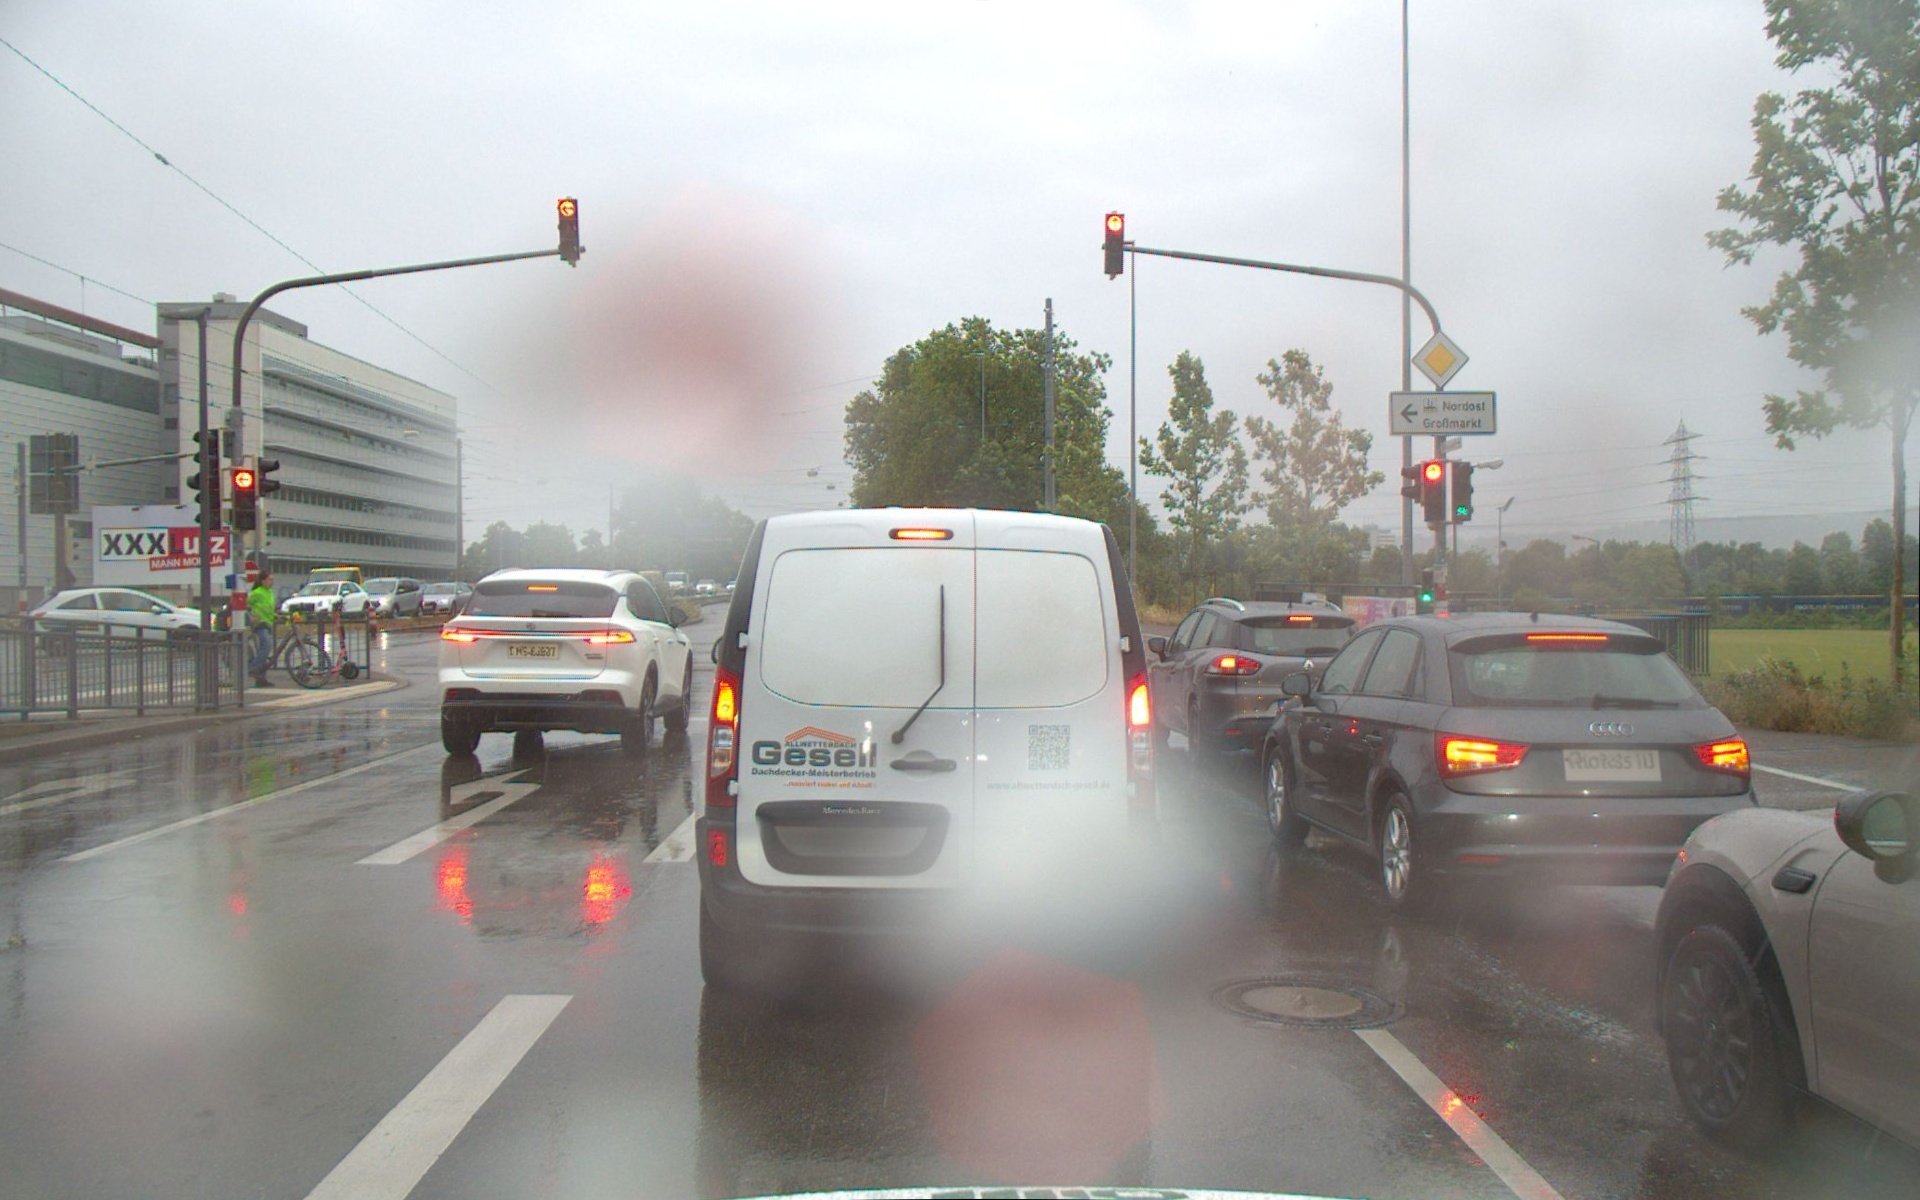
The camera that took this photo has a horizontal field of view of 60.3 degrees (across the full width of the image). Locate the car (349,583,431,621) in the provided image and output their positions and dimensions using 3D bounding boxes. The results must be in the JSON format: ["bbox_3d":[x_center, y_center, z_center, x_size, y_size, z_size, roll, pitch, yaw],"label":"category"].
[{"bbox_3d":[-21.577,0.098,62.768,1.554,1.359,3.832,1,-1,4],"label":"car"}]

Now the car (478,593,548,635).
[{"bbox_3d":[-20.807,0.633,77.124,1.889,1.859,4.002,1,0,4],"label":"car"}]

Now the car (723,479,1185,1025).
[{"bbox_3d":[-0.045,0.512,7.538,1.534,1.819,3.999,0,0,-1],"label":"car"}]

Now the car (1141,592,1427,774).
[{"bbox_3d":[2.887,0.682,15.581,1.822,1.453,3.806,1,1,-2],"label":"car"}]

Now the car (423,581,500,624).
[{"bbox_3d":[-21.065,0.097,70.027,1.853,1.729,4.001,1,0,3],"label":"car"}]

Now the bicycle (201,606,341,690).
[{"bbox_3d":[-9.689,0.671,23.299,1.716,1.052,0.414,4,-1,-3],"label":"bicycle"}]

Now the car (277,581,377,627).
[{"bbox_3d":[-21.674,0.140,56.789,1.662,1.518,3.878,1,0,5],"label":"car"}]

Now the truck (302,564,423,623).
[{"bbox_3d":[-25.155,-0.251,70.007,2.303,2.319,7.632,1,0,0],"label":"truck"}]

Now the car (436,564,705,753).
[{"bbox_3d":[-3.595,0.469,16.036,1.694,1.562,4.296,1,1,-2],"label":"car"}]

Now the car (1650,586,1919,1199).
[{"bbox_3d":[2.963,0.753,3.211,1.678,1.534,3.623,1,0,-1],"label":"car"}]

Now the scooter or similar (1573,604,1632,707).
[{"bbox_3d":[7.609,0.639,19.621,0.240,1.178,1.186,1,0,1],"label":"scooter or similar"}]

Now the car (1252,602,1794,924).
[{"bbox_3d":[2.755,0.709,8.952,1.596,1.368,3.622,1,0,-2],"label":"car"}]

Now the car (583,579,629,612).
[{"bbox_3d":[-22.135,-0.267,103.528,1.952,2.049,4.000,1,0,1],"label":"car"}]

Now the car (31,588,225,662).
[{"bbox_3d":[-18.042,0.552,35.951,3.660,1.530,1.605,1,0,-28],"label":"car"}]

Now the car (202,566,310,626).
[{"bbox_3d":[-25.297,-0.118,59.592,1.952,2.049,4.002,1,0,3],"label":"car"}]
